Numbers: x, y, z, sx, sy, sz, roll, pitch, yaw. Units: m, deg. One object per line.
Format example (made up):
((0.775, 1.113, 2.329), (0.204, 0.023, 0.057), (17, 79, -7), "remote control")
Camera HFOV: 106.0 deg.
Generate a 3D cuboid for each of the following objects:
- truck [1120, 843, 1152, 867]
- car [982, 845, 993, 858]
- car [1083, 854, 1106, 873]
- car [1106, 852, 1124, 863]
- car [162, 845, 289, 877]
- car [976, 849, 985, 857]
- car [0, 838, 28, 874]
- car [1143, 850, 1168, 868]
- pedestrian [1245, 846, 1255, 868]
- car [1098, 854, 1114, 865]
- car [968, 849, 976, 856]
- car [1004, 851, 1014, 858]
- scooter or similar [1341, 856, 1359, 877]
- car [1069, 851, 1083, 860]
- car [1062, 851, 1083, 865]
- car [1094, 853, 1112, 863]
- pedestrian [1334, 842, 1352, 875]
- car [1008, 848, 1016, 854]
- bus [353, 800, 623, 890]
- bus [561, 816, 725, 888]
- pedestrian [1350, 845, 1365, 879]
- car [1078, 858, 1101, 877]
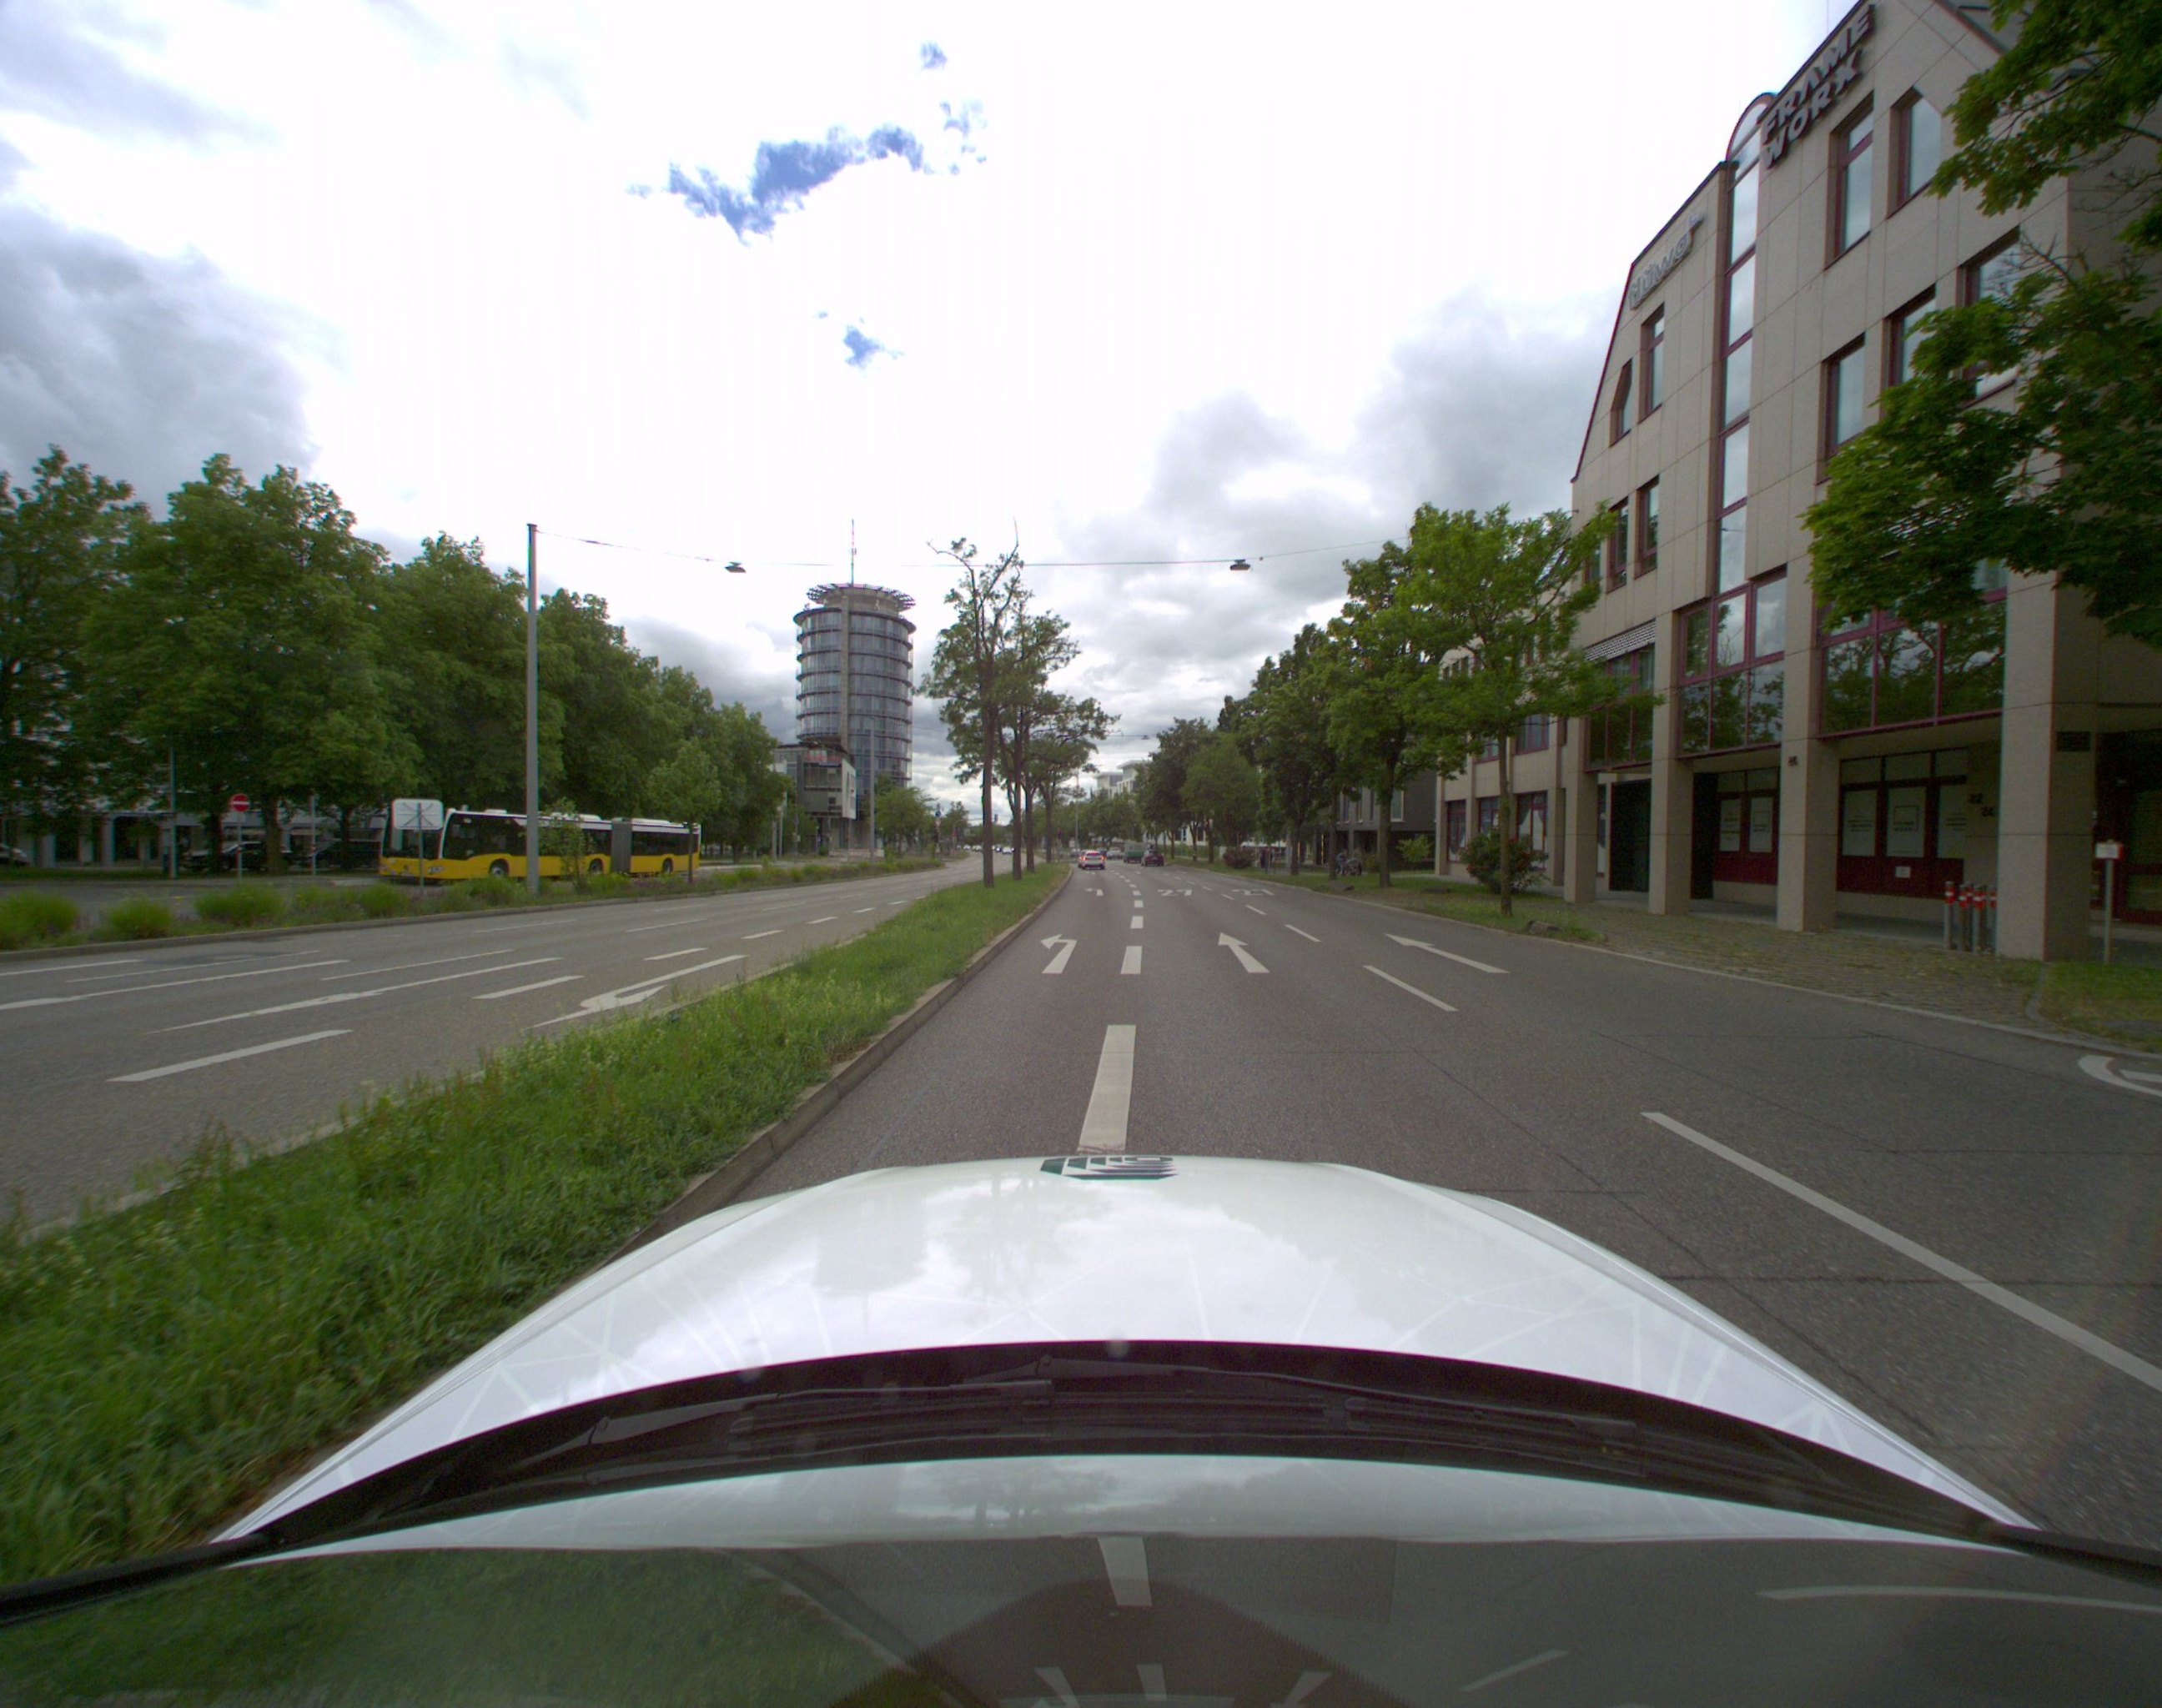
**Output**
((5.979, 0.149, 89.504), (2.853, 2.519, 6.280), (0, -1, -3), "truck")
((-20.911, -0.569, 182.962), (1.989, 2.634, 5.868), (2, 0, -3), "car")
((1.119, 0.773, 65.888), (1.856, 1.449, 4.001), (0, -1, 2), "car")
((4.528, 0.469, 108.953), (1.989, 1.508, 3.995), (0, 0, -3), "car")
((-44.786, 0.366, 42.793), (1.984, 1.581, 4.252), (0, 0, 4), "car")
((-25.470, -0.270, 206.287), (1.989, 2.011, 4.319), (2, 0, -3), "car")
((-50.790, 0.097, 35.608), (1.977, 1.648, 5.429), (0, 0, 20), "car")
((6.743, 0.451, 74.221), (1.987, 1.596, 4.000), (0, 0, 1), "car")
((13.814, 0.208, 66.632), (0.606, 1.775, 0.954), (0, 2, 0), "pedestrian")
((3.809, 0.831, 124.541), (1.989, 1.491, 3.995), (1, 0, -3), "car")
((-29.620, -0.445, 221.449), (1.989, 1.853, 4.319), (2, 0, -3), "car")
((-14.521, 0.075, 164.065), (1.749, 1.444, 4.129), (2, 0, -3), "car")
((13.456, 0.620, 40.755), (0.582, 0.994, 0.845), (-1, 0, -4), "scooter or similar")
((-0.784, 0.246, 128.594), (1.989, 1.491, 3.995), (1, 0, -3), "car")
((-0.883, 0.489, 92.079), (1.984, 1.508, 4.005), (0, -1, 5), "car")
((3.242, 0.566, 122.497), (1.993, 1.508, 3.988), (0, 0, -9), "car")
((13.389, 0.236, 41.653), (0.554, 1.653, 0.960), (-1, 0, -4), "pedestrian")
((-16.550, -0.766, 196.015), (1.748, 1.371, 3.778), (-1, 0, -1), "car")
((-24.435, -0.313, 34.755), (3.070, 3.162, 10.746), (2, 0, 3), "bus")
((-23.804, -0.105, 45.172), (3.017, 3.455, 9.922), (2, 0, 4), "bus")
((14.194, 0.409, 41.814), (0.564, 1.700, 0.830), (0, -1, 4), "pedestrian")
((0.735, 1.187, 72.492), (1.987, 1.672, 3.999), (0, -1, 0), "car")
